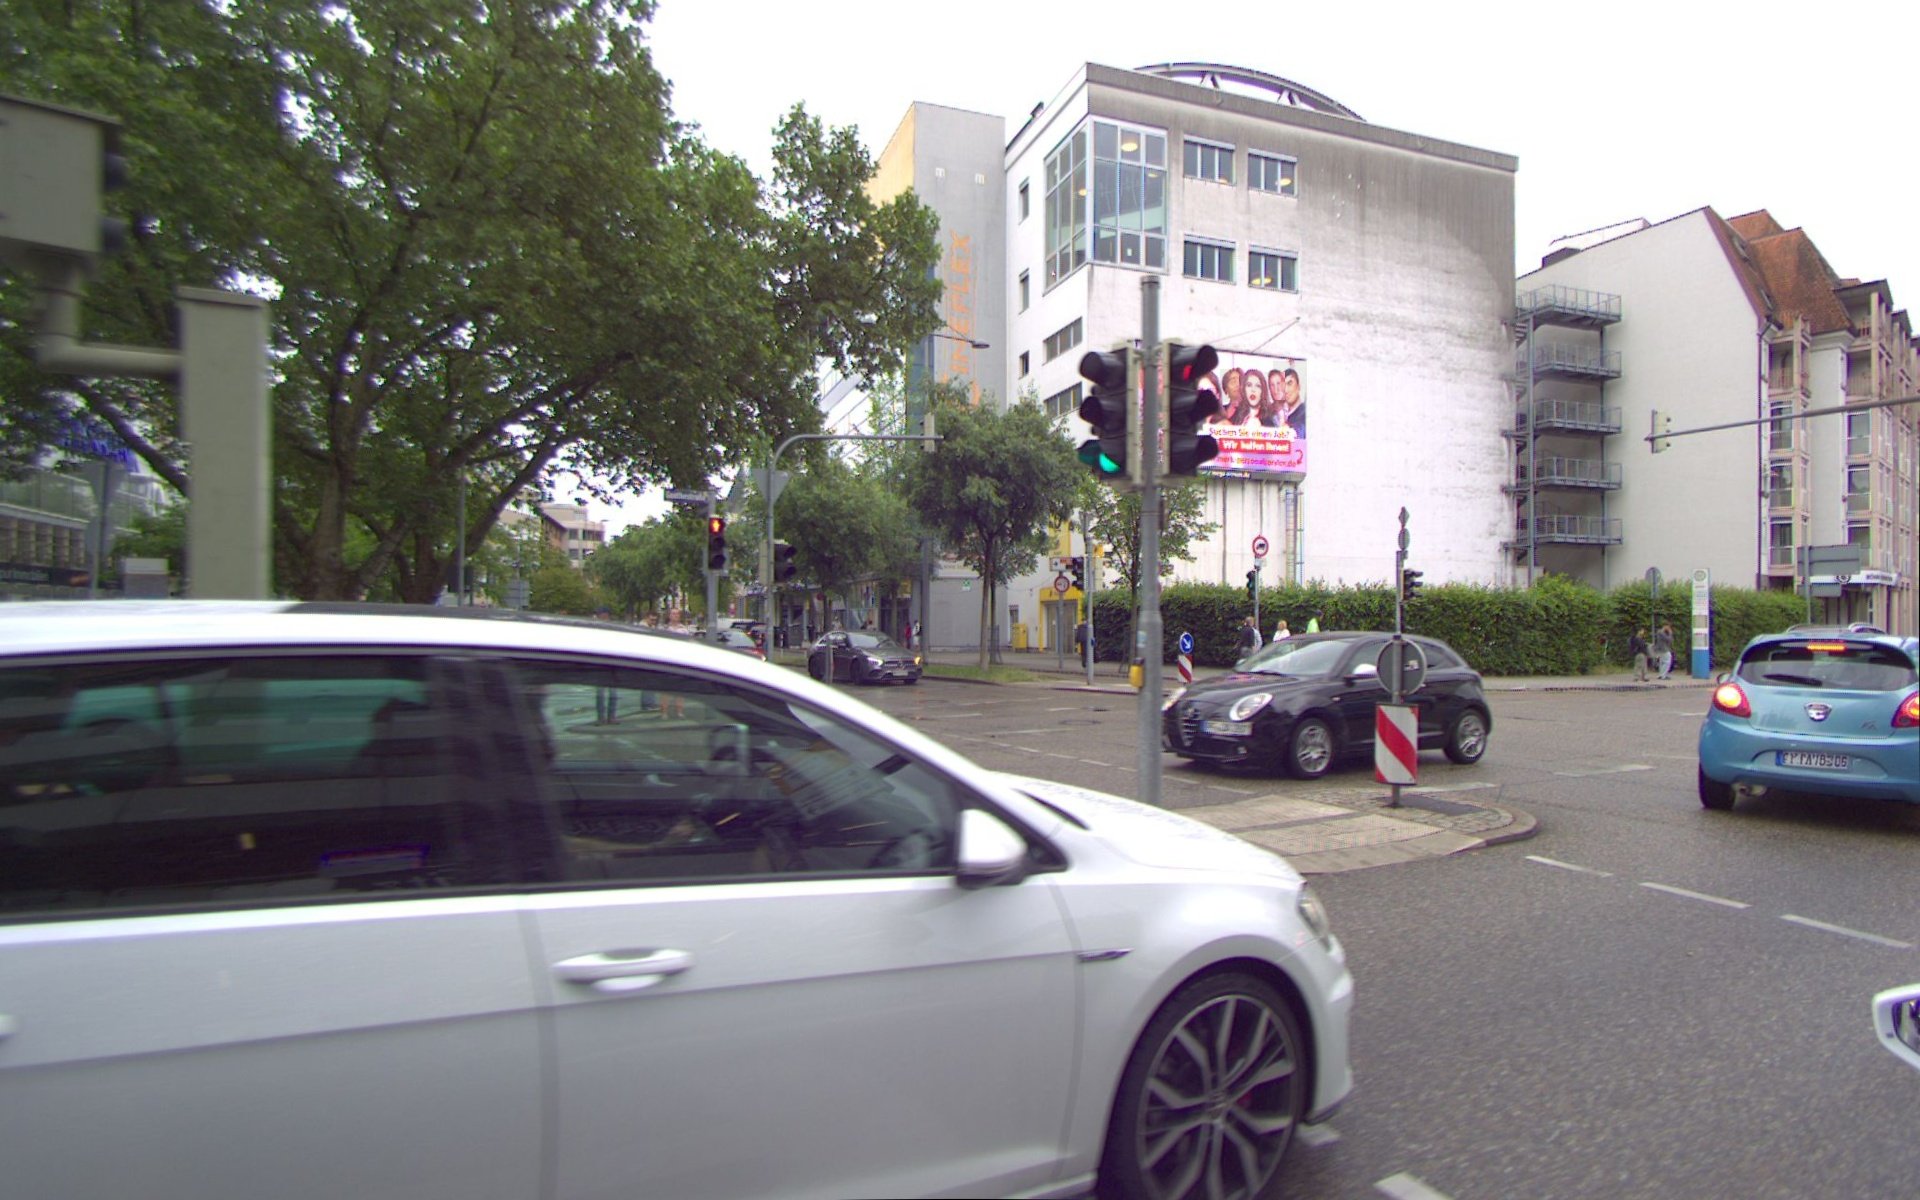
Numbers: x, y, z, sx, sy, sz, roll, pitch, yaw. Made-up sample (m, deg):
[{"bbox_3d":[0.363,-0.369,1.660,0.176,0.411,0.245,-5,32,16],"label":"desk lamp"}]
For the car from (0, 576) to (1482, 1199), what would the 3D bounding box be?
[{"bbox_3d":[-0.729,0.723,2.544,3.952,1.428,1.757,3,-1,-29],"label":"car"}]

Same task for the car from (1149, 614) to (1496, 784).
[{"bbox_3d":[3.973,0.964,10.917,3.616,1.576,1.615,1,-2,-30],"label":"car"}]

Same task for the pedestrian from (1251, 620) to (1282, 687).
[{"bbox_3d":[8.453,1.468,27.707,0.585,1.788,0.524,1,2,-30],"label":"pedestrian"}]

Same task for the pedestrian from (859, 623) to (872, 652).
[{"bbox_3d":[-5.211,2.070,55.361,0.521,1.621,0.555,1,-1,-22],"label":"pedestrian"}]

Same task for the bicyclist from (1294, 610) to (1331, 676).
[{"bbox_3d":[10.366,1.245,29.564,0.934,1.915,0.794,0,-1,13],"label":"bicyclist"}]

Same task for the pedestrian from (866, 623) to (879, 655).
[{"bbox_3d":[-4.550,2.020,52.047,0.521,1.621,0.555,1,-1,-22],"label":"pedestrian"}]

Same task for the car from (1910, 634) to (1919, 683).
[{"bbox_3d":[30.001,1.732,29.654,4.049,1.439,1.749,2,-4,-30],"label":"car"}]

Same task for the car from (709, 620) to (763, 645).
[{"bbox_3d":[-16.482,2.394,74.018,1.908,1.684,3.873,4,0,22],"label":"car"}]

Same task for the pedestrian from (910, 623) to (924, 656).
[{"bbox_3d":[-2.131,1.977,50.081,0.521,1.621,0.555,1,-1,-22],"label":"pedestrian"}]

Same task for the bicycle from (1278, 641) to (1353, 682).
[{"bbox_3d":[10.424,1.793,29.503,2.016,1.125,0.653,0,-1,12],"label":"bicycle"}]

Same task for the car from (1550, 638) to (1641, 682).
[{"bbox_3d":[23.724,2.211,37.469,3.563,1.530,1.585,2,-2,-34],"label":"car"}]

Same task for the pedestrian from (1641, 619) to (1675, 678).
[{"bbox_3d":[21.505,1.492,30.946,0.586,1.787,0.638,4,-3,-31],"label":"pedestrian"}]

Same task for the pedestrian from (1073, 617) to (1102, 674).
[{"bbox_3d":[4.170,1.493,32.788,0.778,1.804,0.653,2,-2,15],"label":"pedestrian"}]

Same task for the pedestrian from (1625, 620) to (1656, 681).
[{"bbox_3d":[20.368,1.497,30.049,0.624,1.787,0.524,4,-3,-31],"label":"pedestrian"}]

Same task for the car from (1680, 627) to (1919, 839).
[{"bbox_3d":[7.788,1.020,8.910,3.666,1.494,1.679,2,-2,-45],"label":"car"}]

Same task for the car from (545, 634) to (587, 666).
[{"bbox_3d":[-19.642,2.469,50.207,1.835,1.483,3.982,1,-2,-20],"label":"car"}]

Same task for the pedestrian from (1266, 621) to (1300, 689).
[{"bbox_3d":[8.764,1.479,27.238,0.585,1.788,0.524,2,1,-30],"label":"pedestrian"}]

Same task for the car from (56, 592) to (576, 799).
[{"bbox_3d":[-5.496,0.793,9.068,3.598,1.535,1.666,2,-3,-28],"label":"car"}]

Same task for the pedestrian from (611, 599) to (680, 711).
[{"bbox_3d":[-5.629,0.979,18.035,0.844,1.931,0.828,3,-2,3],"label":"pedestrian"}]

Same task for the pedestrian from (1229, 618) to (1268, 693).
[{"bbox_3d":[7.045,1.353,24.545,0.586,1.787,0.643,4,-3,-32],"label":"pedestrian"}]

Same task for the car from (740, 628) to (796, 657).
[{"bbox_3d":[-12.643,2.785,66.224,1.907,1.684,3.875,4,0,18],"label":"car"}]

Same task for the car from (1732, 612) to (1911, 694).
[{"bbox_3d":[20.026,1.224,23.323,4.258,1.759,1.819,2,-2,-29],"label":"car"}]

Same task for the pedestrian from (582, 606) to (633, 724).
[{"bbox_3d":[-5.468,0.985,15.590,0.668,1.787,0.409,0,0,-30],"label":"pedestrian"}]

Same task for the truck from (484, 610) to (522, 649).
[{"bbox_3d":[-27.193,1.754,59.827,1.973,2.183,6.665,1,-1,-24],"label":"truck"}]

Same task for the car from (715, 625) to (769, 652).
[{"bbox_3d":[-15.156,2.646,70.101,1.907,1.684,3.875,4,0,18],"label":"car"}]

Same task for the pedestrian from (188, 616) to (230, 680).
[{"bbox_3d":[-17.013,1.081,22.765,0.515,1.424,0.549,0,-2,-3],"label":"pedestrian"}]

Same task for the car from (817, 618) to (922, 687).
[{"bbox_3d":[-2.531,1.386,27.416,1.616,1.718,3.577,0,-2,-27],"label":"car"}]

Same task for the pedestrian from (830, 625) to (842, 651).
[{"bbox_3d":[-7.569,2.313,61.332,0.521,1.621,0.694,1,-1,-22],"label":"pedestrian"}]

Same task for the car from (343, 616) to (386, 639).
[{"bbox_3d":[-50.408,2.337,85.094,1.883,1.773,3.802,4,-1,-12],"label":"car"}]

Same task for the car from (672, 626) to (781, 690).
[{"bbox_3d":[-6.564,1.545,27.930,1.684,1.607,3.963,0,-1,-33],"label":"car"}]

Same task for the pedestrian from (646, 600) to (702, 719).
[{"bbox_3d":[-4.603,0.960,16.157,0.669,1.861,0.444,4,-3,-32],"label":"pedestrian"}]
